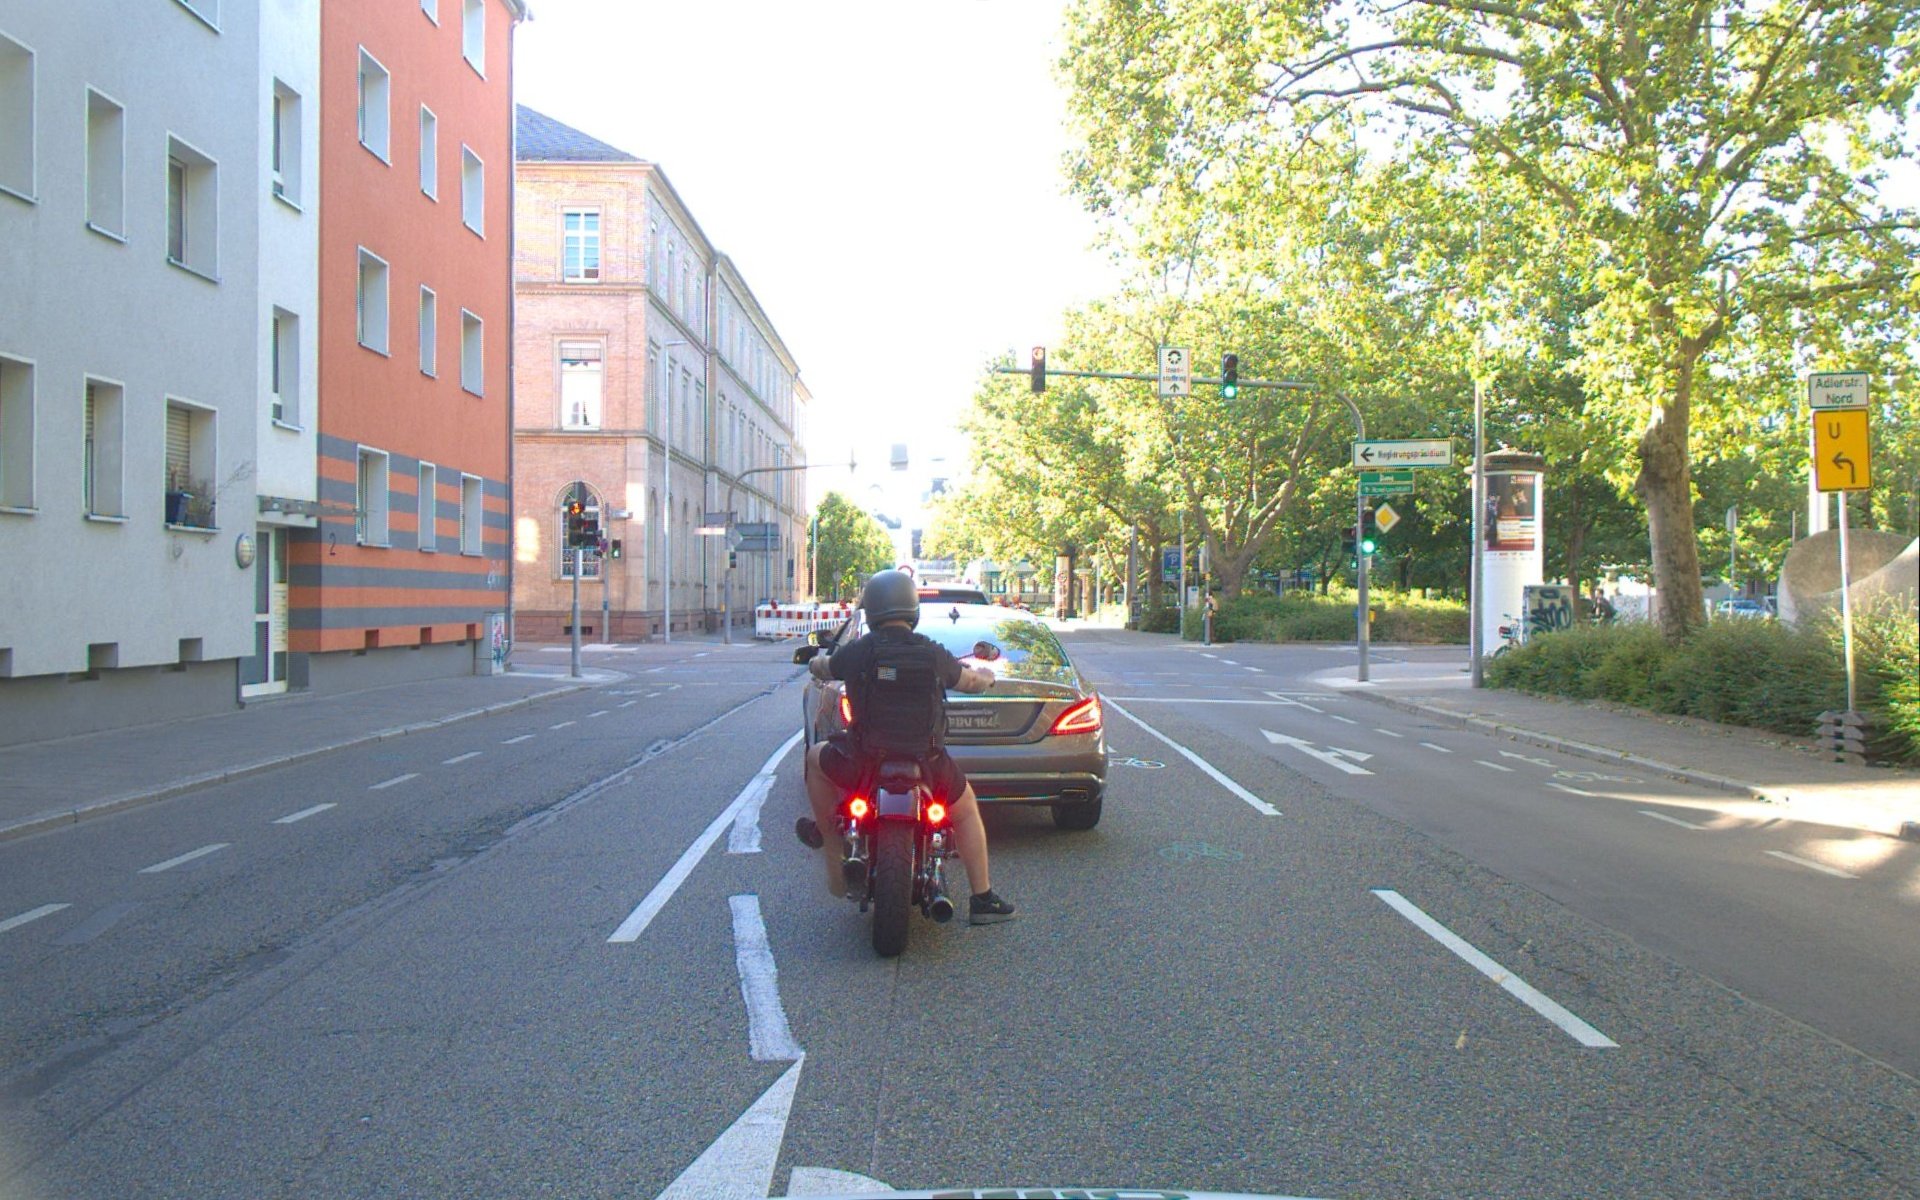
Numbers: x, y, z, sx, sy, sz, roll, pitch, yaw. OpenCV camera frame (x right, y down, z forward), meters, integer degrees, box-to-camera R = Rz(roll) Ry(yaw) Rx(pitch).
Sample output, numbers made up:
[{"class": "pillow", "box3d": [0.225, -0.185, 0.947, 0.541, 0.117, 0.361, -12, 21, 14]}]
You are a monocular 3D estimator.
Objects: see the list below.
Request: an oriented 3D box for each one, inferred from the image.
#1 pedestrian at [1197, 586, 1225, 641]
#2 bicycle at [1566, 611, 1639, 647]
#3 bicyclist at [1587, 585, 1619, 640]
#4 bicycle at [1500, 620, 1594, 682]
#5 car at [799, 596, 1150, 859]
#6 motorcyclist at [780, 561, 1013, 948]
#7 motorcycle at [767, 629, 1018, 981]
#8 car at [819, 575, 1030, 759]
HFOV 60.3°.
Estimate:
[{"class": "pedestrian", "box3d": [8.312, 0.439, 54.832, 0.611, 1.803, 0.669, 1, -1, -41]}, {"class": "bicycle", "box3d": [18.855, 0.847, 48.566, 1.877, 0.997, 0.602, 1, 0, 5]}, {"class": "bicyclist", "box3d": [18.885, 0.365, 48.577, 0.715, 1.610, 0.597, 1, -1, 5]}, {"class": "bicycle", "box3d": [9.788, 0.841, 27.594, 1.452, 0.997, 0.299, 1, -1, 5]}, {"class": "car", "box3d": [-0.113, 0.712, 11.617, 1.834, 1.469, 4.422, 0, 0, -8]}, {"class": "motorcyclist", "box3d": [-0.272, 0.640, 7.495, 0.961, 1.606, 1.248, 0, 0, -1]}, {"class": "motorcycle", "box3d": [-0.276, 0.809, 7.555, 0.961, 1.297, 2.407, 0, 0, -1]}, {"class": "car", "box3d": [-0.361, 0.635, 17.537, 1.953, 1.695, 3.999, 1, 0, -1]}]
